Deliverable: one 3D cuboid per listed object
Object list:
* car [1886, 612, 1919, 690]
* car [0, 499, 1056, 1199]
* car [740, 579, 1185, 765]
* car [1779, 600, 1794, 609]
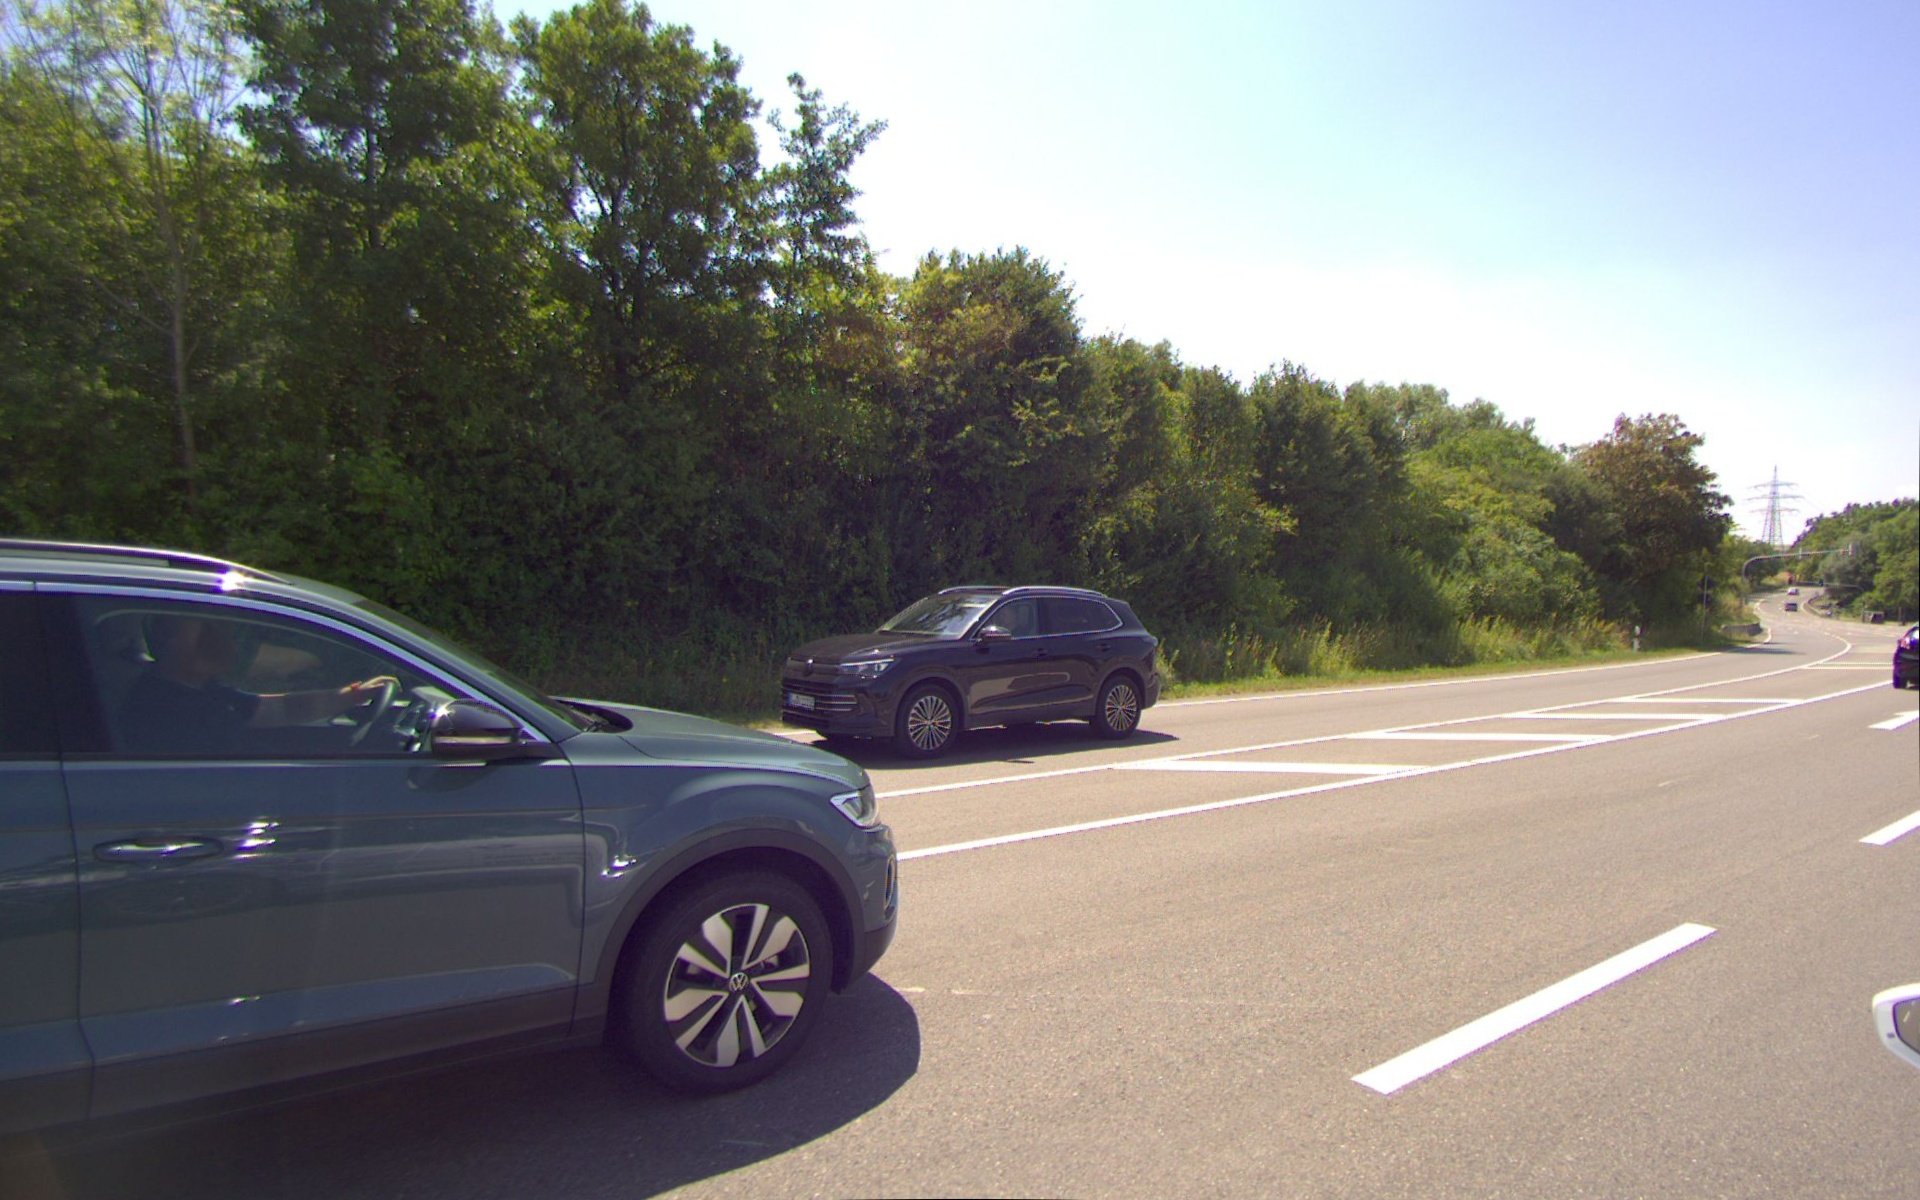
[{"bbox_3d":[21.791,1.095,22.089,4.174,1.514,1.638,-1,2,-41],"label":"car"},{"bbox_3d":[-1.965,0.600,3.079,4.345,1.608,1.823,1,0,-34],"label":"car"},{"bbox_3d":[0.174,0.648,10.931,4.641,1.614,1.978,1,0,-39],"label":"car"},{"bbox_3d":[157.700,0.875,191.613,1.971,1.706,3.978,2,1,42],"label":"car"}]
